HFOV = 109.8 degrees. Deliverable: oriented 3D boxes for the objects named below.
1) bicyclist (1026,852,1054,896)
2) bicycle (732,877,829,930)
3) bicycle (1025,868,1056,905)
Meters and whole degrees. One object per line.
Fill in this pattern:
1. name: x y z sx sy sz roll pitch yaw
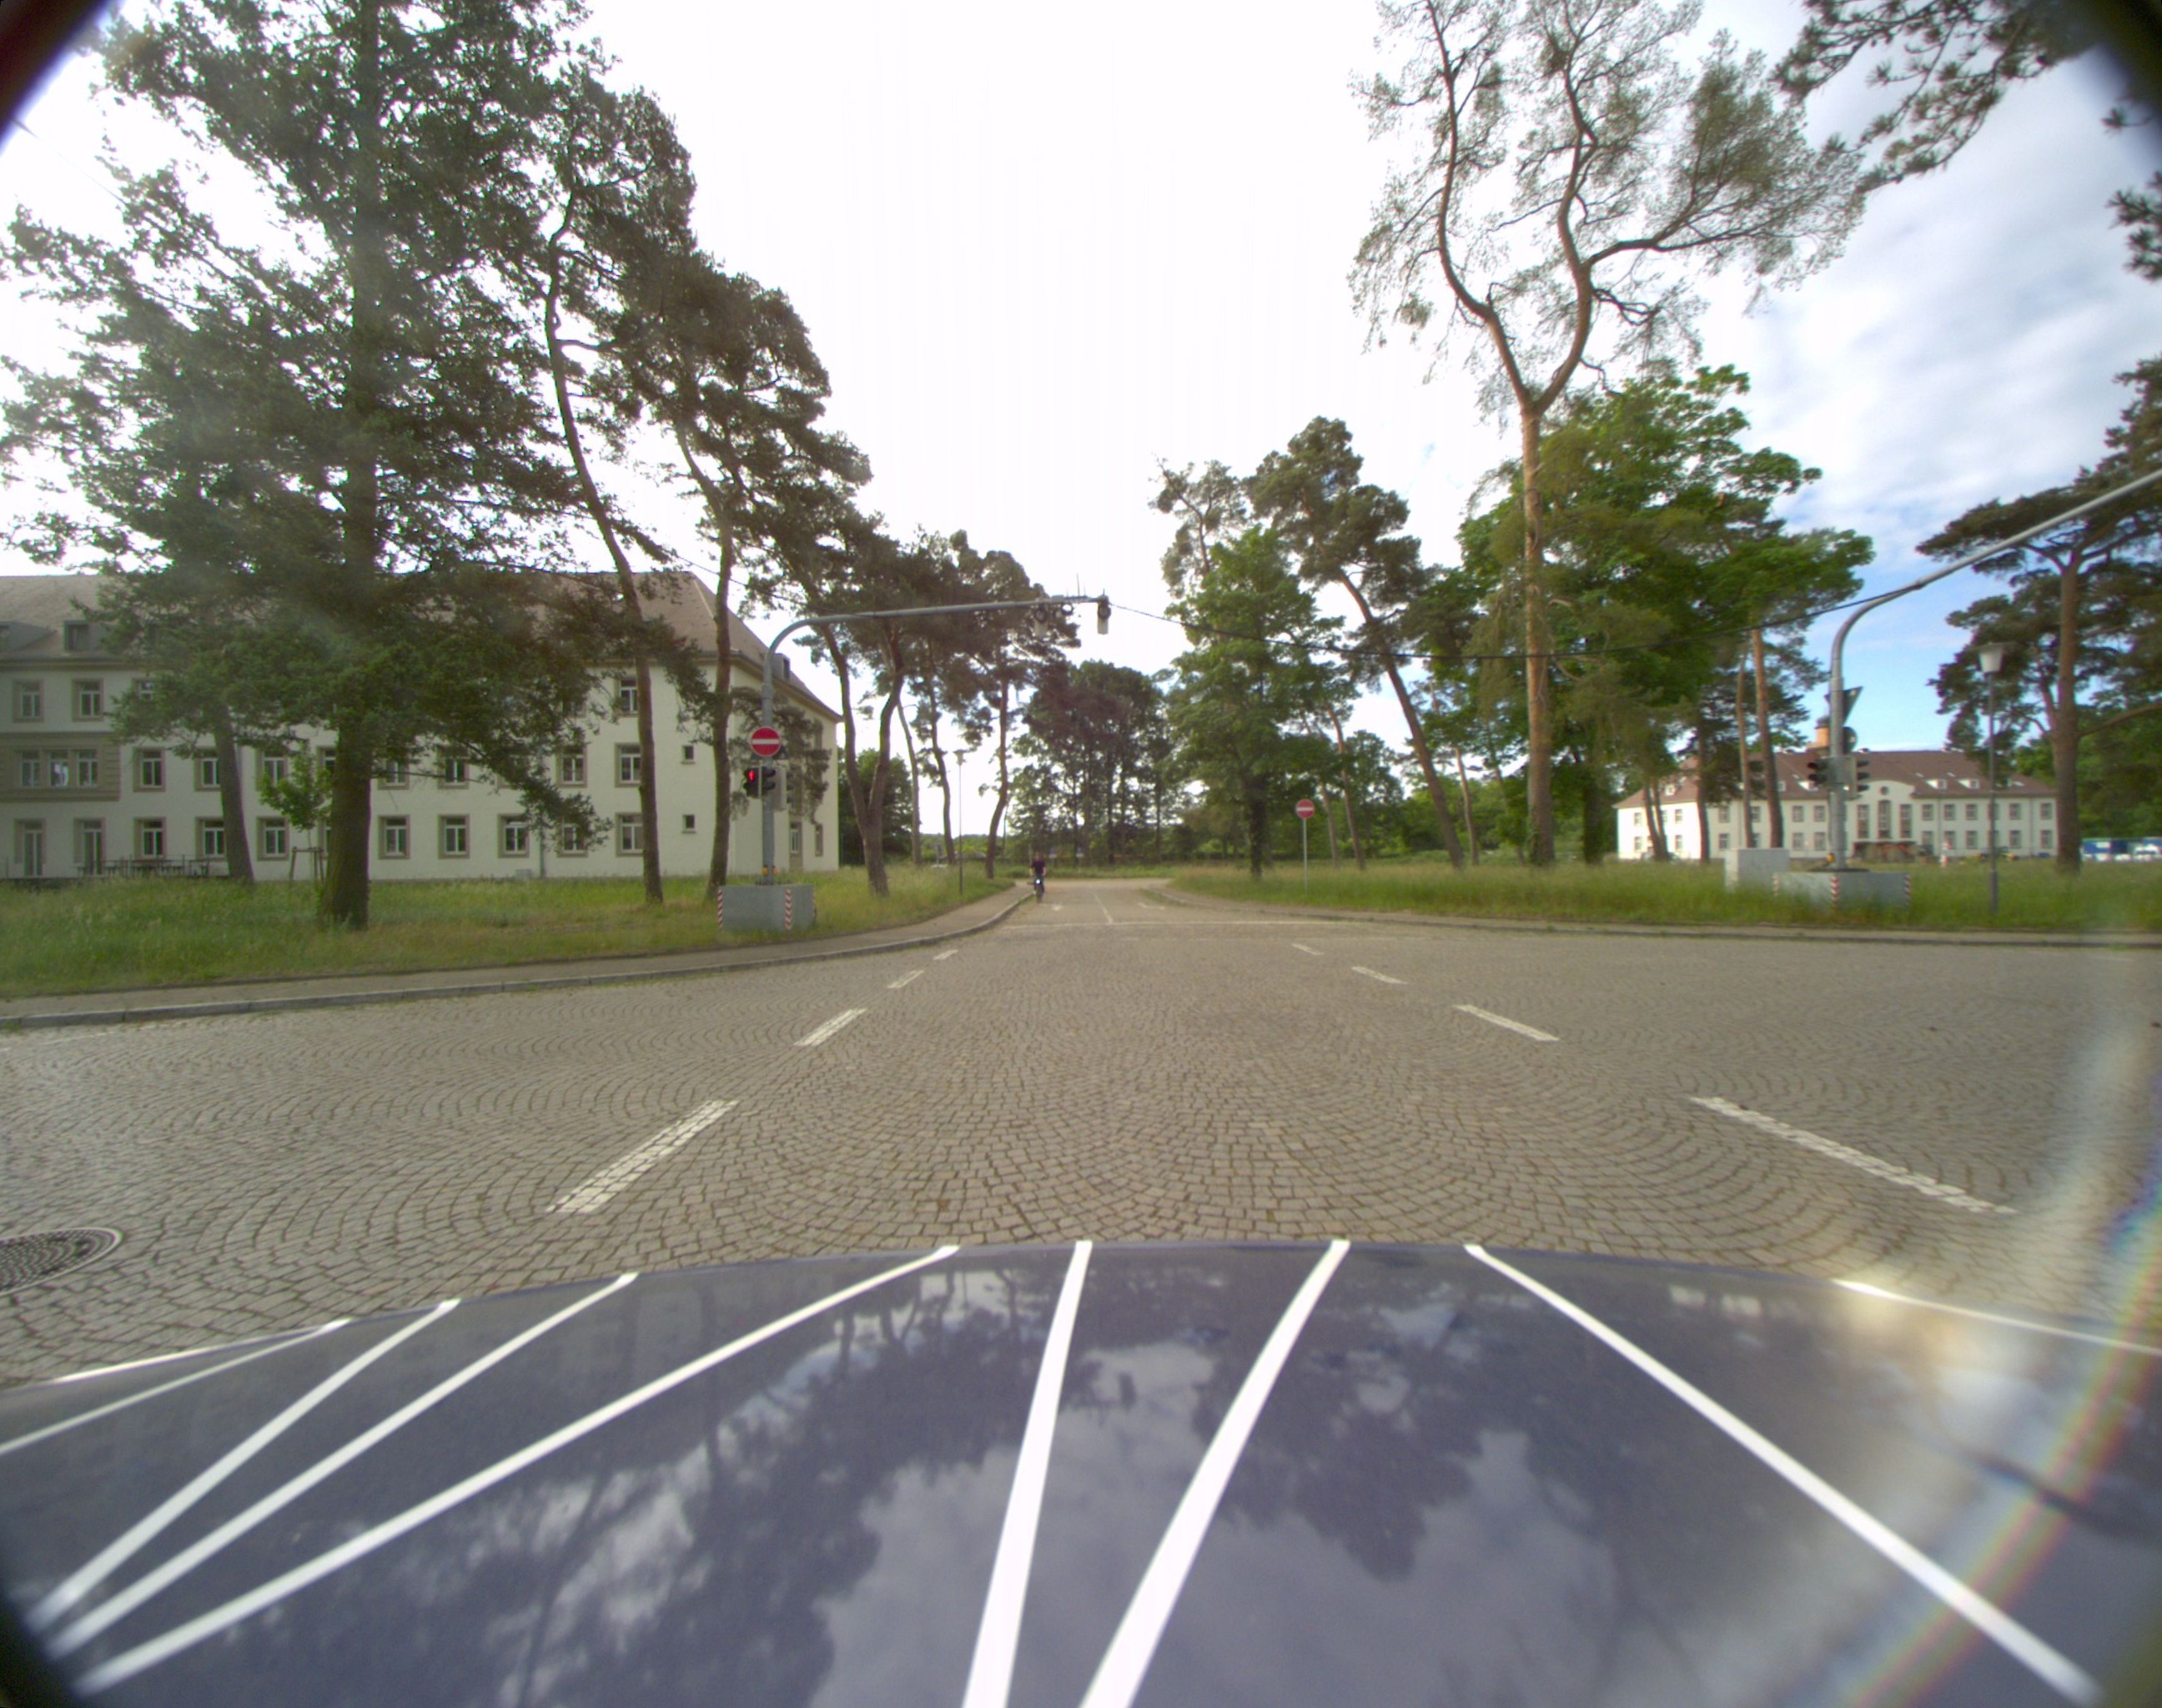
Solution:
1. bicyclist: -1.538 0.762 28.743 0.963 1.625 0.918 -1 0 2
2. bicycle: -6.521 1.069 16.548 1.837 1.079 0.572 -1 2 -2
3. bicycle: -1.500 1.198 28.652 0.963 1.268 2.164 -1 0 2
